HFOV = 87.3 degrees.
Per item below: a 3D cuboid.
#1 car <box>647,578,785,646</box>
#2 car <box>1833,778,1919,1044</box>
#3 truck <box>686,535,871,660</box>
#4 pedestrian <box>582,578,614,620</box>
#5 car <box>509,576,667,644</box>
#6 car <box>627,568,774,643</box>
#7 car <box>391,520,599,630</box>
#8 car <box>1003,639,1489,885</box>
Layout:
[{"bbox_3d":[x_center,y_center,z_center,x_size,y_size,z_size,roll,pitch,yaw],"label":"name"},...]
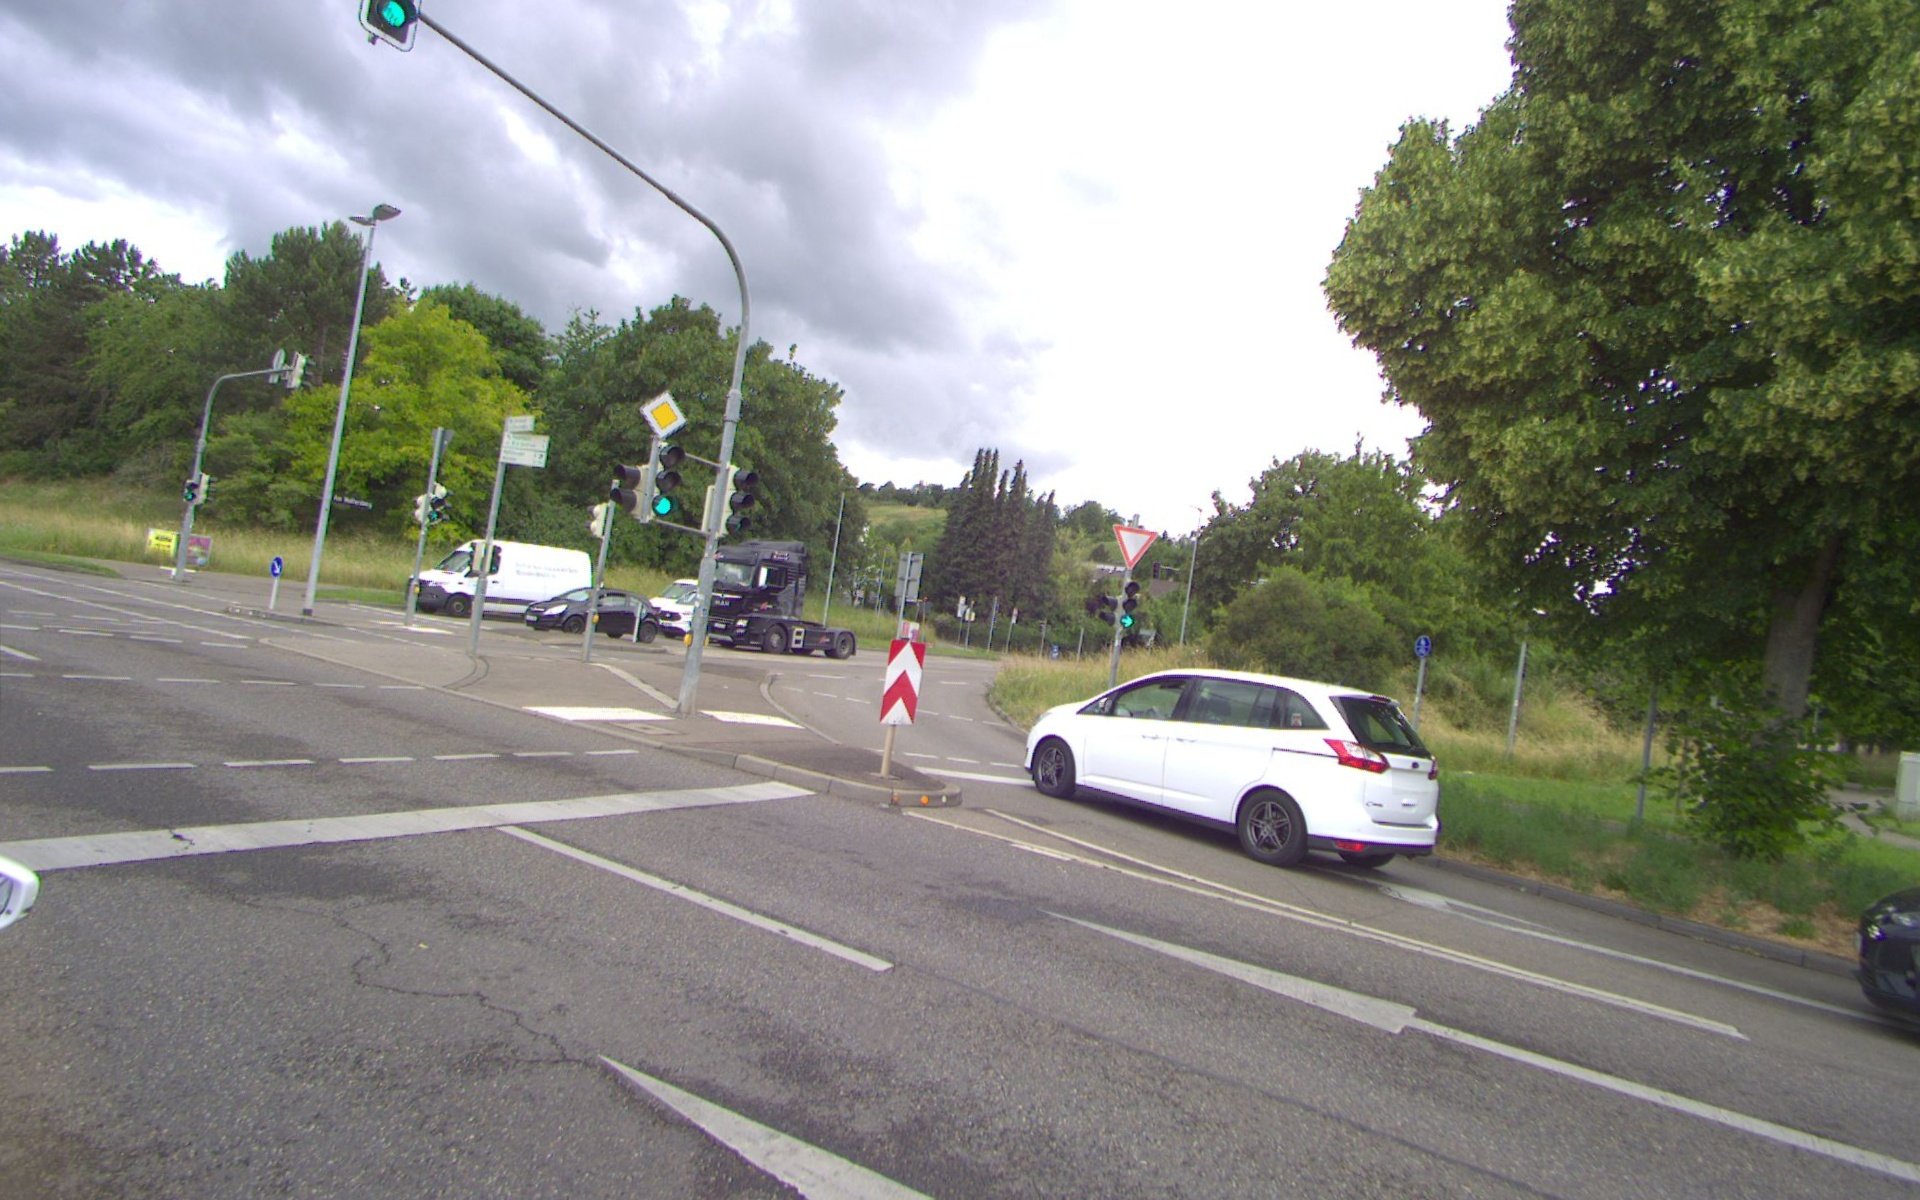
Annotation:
[{"bbox_3d":[-9.029,0.493,37.600,1.999,1.918,4.862,7,-1,31],"label":"car"},{"bbox_3d":[7.144,2.041,5.359,3.562,1.445,1.622,6,-5,39],"label":"car"},{"bbox_3d":[-6.203,0.025,35.338,2.682,3.580,6.061,7,-1,32],"label":"truck"},{"bbox_3d":[-15.904,-0.032,44.231,0.803,1.696,0.789,7,-1,34],"label":"pedestrian"},{"bbox_3d":[-10.597,0.336,28.927,1.703,1.453,3.927,7,-1,31],"label":"car"},{"bbox_3d":[-10.417,0.291,40.902,2.100,2.316,5.709,7,-1,32],"label":"car"},{"bbox_3d":[-15.327,-0.735,33.595,2.100,2.814,5.903,7,-1,32],"label":"car"},{"bbox_3d":[2.628,1.493,10.238,1.772,1.611,4.414,12,-5,-37],"label":"car"}]
